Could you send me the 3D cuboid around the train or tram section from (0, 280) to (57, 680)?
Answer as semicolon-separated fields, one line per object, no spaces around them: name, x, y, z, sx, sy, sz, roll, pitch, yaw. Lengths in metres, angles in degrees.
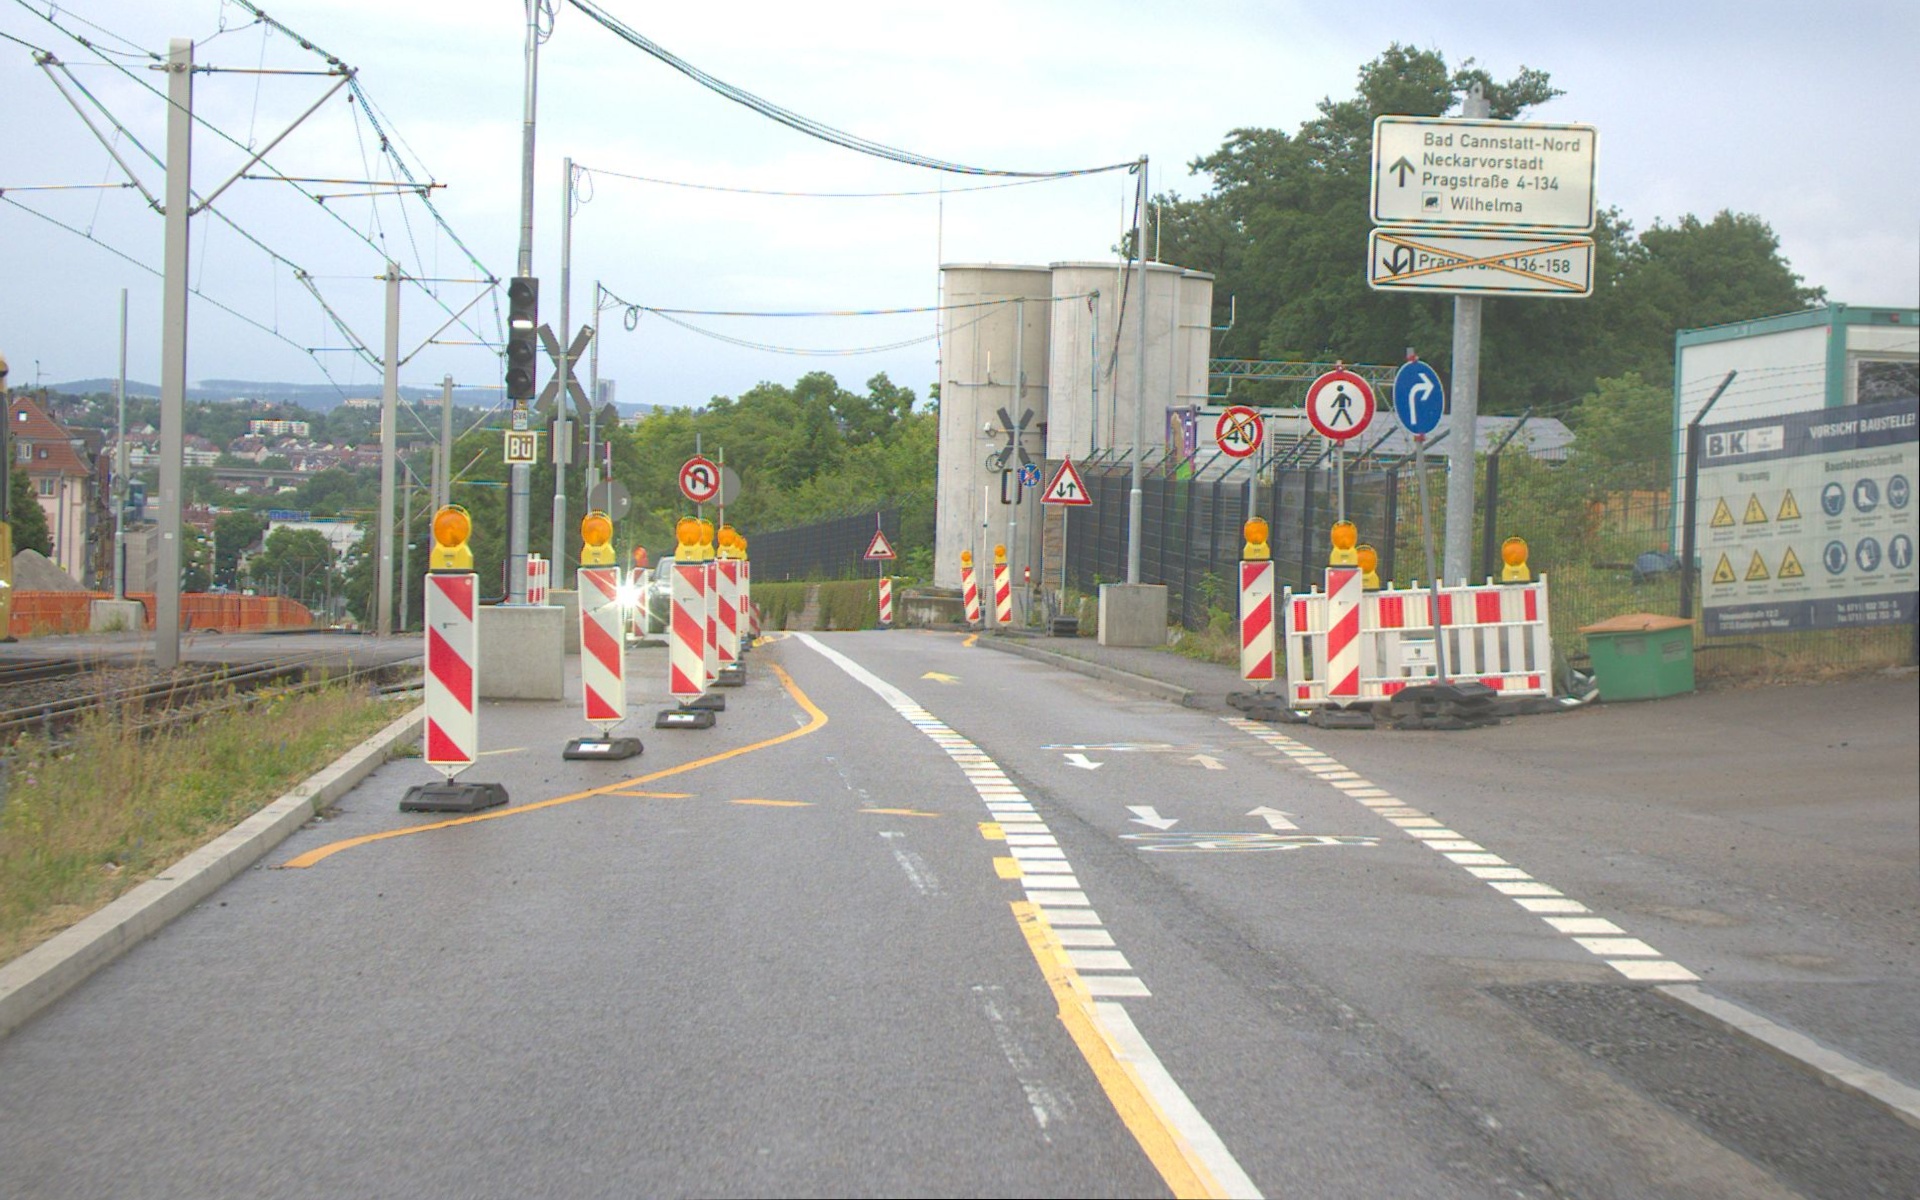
train or tram section;-10.606;-1.039;25.718;2.955;3.872;19.293;2;1;-1

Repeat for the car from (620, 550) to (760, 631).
car;-5.793;-0.210;73.262;1.993;1.672;4.490;0;1;-18
